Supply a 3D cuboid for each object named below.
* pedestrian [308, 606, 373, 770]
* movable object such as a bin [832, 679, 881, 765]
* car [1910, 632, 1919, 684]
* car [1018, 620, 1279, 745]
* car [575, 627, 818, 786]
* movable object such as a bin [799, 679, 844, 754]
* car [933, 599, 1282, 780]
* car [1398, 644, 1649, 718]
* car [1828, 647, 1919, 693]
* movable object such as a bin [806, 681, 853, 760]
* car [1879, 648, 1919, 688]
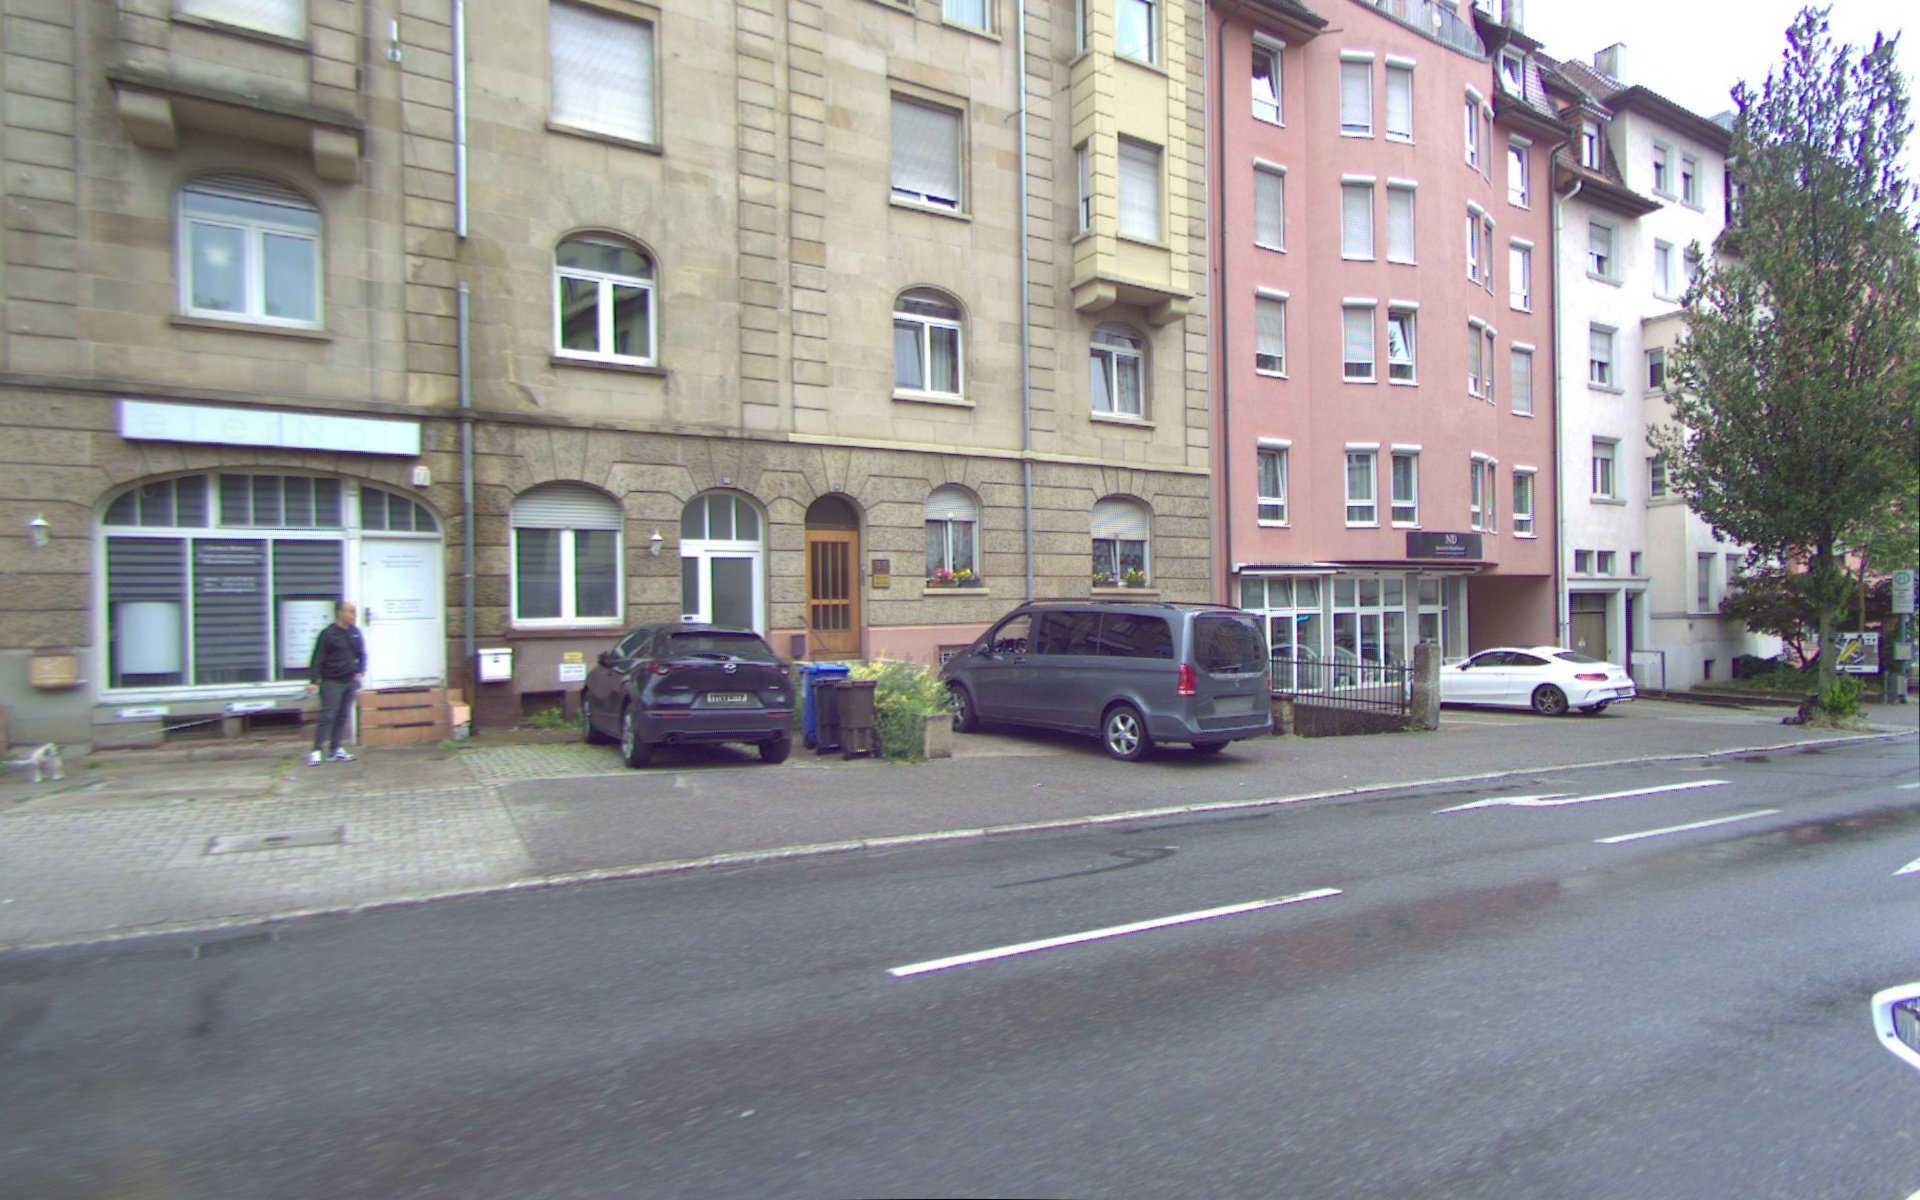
[{"bbox_3d":[-7.046,0.981,11.437,0.558,1.800,0.475,1,0,-28],"label":"pedestrian"},{"bbox_3d":[-1.250,1.457,12.111,0.434,0.963,0.503,1,0,-25],"label":"movable object such as a bin"},{"bbox_3d":[38.786,2.172,37.237,2.024,1.999,4.807,1,-3,-30],"label":"car"},{"bbox_3d":[2.855,1.205,16.097,1.876,1.612,4.075,2,0,-31],"label":"car"},{"bbox_3d":[-3.362,1.115,12.219,1.851,1.530,4.128,1,-1,-30],"label":"car"},{"bbox_3d":[-1.812,1.509,13.095,0.434,0.916,0.503,1,0,-25],"label":"movable object such as a bin"},{"bbox_3d":[1.790,1.010,13.627,1.848,1.964,4.636,1,0,-39],"label":"car"},{"bbox_3d":[12.109,1.692,21.940,1.747,1.419,4.527,1,-3,-30],"label":"car"},{"bbox_3d":[31.598,2.320,33.411,1.776,1.476,3.853,2,-3,-37],"label":"car"},{"bbox_3d":[-1.633,1.493,12.555,0.434,0.916,0.503,1,0,-25],"label":"movable object such as a bin"},{"bbox_3d":[36.546,2.476,36.459,1.773,1.470,4.408,2,-3,-32],"label":"car"}]
